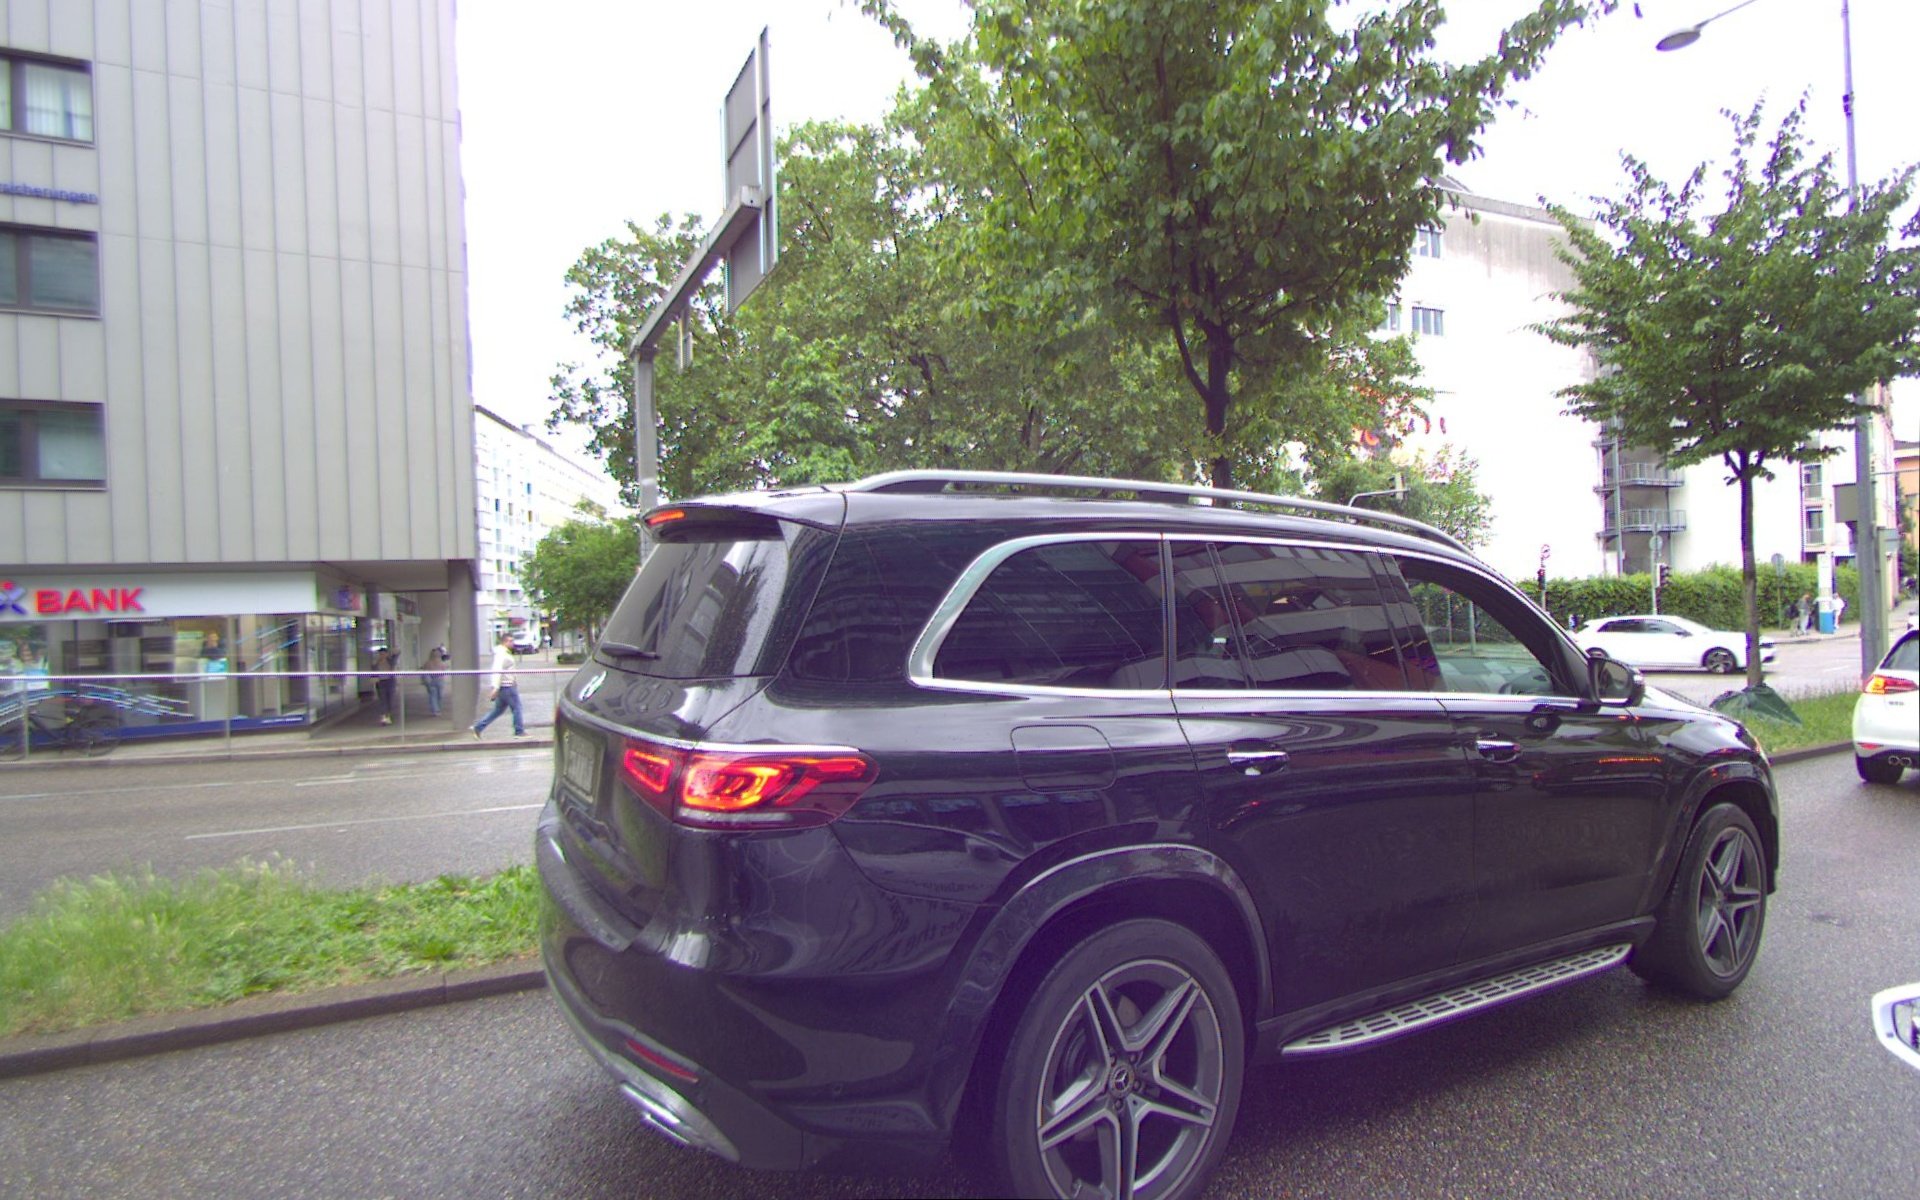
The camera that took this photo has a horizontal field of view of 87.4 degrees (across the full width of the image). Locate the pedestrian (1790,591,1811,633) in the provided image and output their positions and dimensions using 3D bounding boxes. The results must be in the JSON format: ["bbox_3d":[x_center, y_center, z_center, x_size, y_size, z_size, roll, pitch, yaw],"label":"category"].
[{"bbox_3d":[35.979,0.505,42.977,0.559,1.771,0.535,2,-1,-35],"label":"pedestrian"}]

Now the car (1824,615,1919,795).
[{"bbox_3d":[9.532,0.871,8.960,3.800,1.448,1.767,0,0,-33],"label":"car"}]

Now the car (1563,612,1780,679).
[{"bbox_3d":[18.099,1.092,25.724,1.624,1.506,4.259,0,1,-38],"label":"car"}]

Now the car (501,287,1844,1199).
[{"bbox_3d":[1.140,0.515,3.802,5.016,1.895,1.901,3,-1,-31],"label":"car"}]

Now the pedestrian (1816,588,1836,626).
[{"bbox_3d":[40.765,0.337,47.292,0.651,1.751,0.591,2,-1,-38],"label":"pedestrian"}]

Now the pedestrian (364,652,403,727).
[{"bbox_3d":[-13.381,2.051,23.305,0.630,1.659,0.782,2,-1,-37],"label":"pedestrian"}]

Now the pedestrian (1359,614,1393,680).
[{"bbox_3d":[10.874,1.217,26.268,0.572,1.684,0.554,-2,0,-30],"label":"pedestrian"}]

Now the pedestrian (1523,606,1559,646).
[{"bbox_3d":[23.646,1.042,40.907,0.677,1.599,1.055,2,-1,-34],"label":"pedestrian"}]

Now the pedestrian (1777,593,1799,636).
[{"bbox_3d":[34.657,0.592,42.039,0.741,1.771,0.535,2,-1,-38],"label":"pedestrian"}]

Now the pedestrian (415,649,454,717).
[{"bbox_3d":[-13.490,2.114,25.784,0.719,1.719,0.782,2,-3,-37],"label":"pedestrian"}]

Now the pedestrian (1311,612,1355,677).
[{"bbox_3d":[10.664,1.257,28.716,0.702,1.807,0.917,2,-1,-35],"label":"pedestrian"}]

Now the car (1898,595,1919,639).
[{"bbox_3d":[34.946,0.581,35.709,3.571,1.506,1.565,0,1,-33],"label":"car"}]

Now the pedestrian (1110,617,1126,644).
[{"bbox_3d":[9.917,1.885,63.062,0.723,1.664,0.635,2,-1,-23],"label":"pedestrian"}]

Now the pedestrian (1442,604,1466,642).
[{"bbox_3d":[22.136,1.042,45.016,0.633,1.664,0.726,2,-1,-37],"label":"pedestrian"}]

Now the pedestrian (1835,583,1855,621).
[{"bbox_3d":[41.419,0.111,47.013,0.651,1.751,0.591,2,-1,-38],"label":"pedestrian"}]

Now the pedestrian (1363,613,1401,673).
[{"bbox_3d":[12.025,1.213,28.654,0.620,1.684,0.749,-2,0,-30],"label":"pedestrian"}]

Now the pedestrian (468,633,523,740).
[{"bbox_3d":[-7.704,1.415,16.653,0.717,1.704,0.587,2,-1,-30],"label":"pedestrian"}]
